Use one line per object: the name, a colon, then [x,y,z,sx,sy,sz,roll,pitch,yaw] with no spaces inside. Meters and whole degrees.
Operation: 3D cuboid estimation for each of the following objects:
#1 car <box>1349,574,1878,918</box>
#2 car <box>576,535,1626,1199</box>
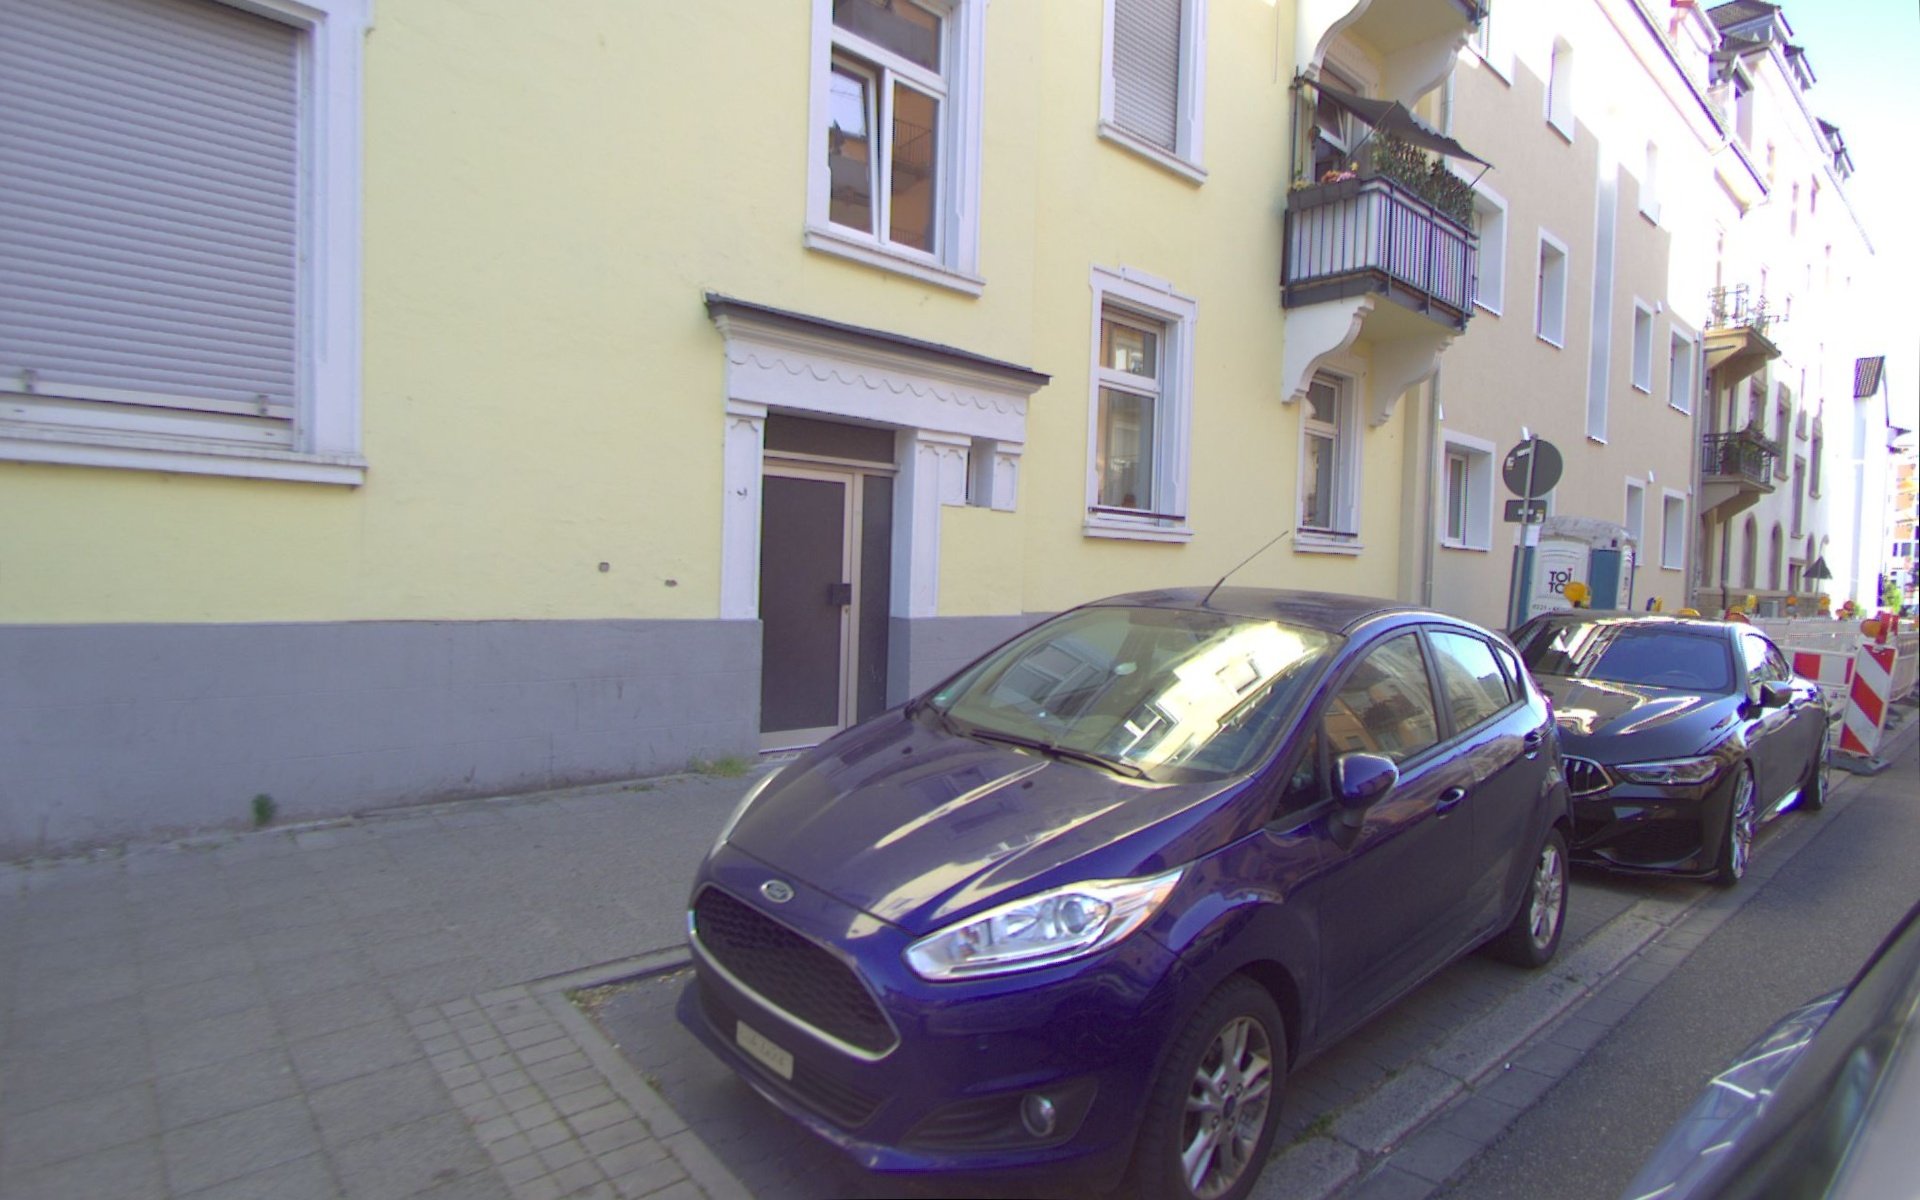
car: [4.818,0.680,7.062,5.024,1.488,1.805,0,4,-42]
car: [0.928,0.632,3.768,1.764,1.488,4.019,6,4,44]
